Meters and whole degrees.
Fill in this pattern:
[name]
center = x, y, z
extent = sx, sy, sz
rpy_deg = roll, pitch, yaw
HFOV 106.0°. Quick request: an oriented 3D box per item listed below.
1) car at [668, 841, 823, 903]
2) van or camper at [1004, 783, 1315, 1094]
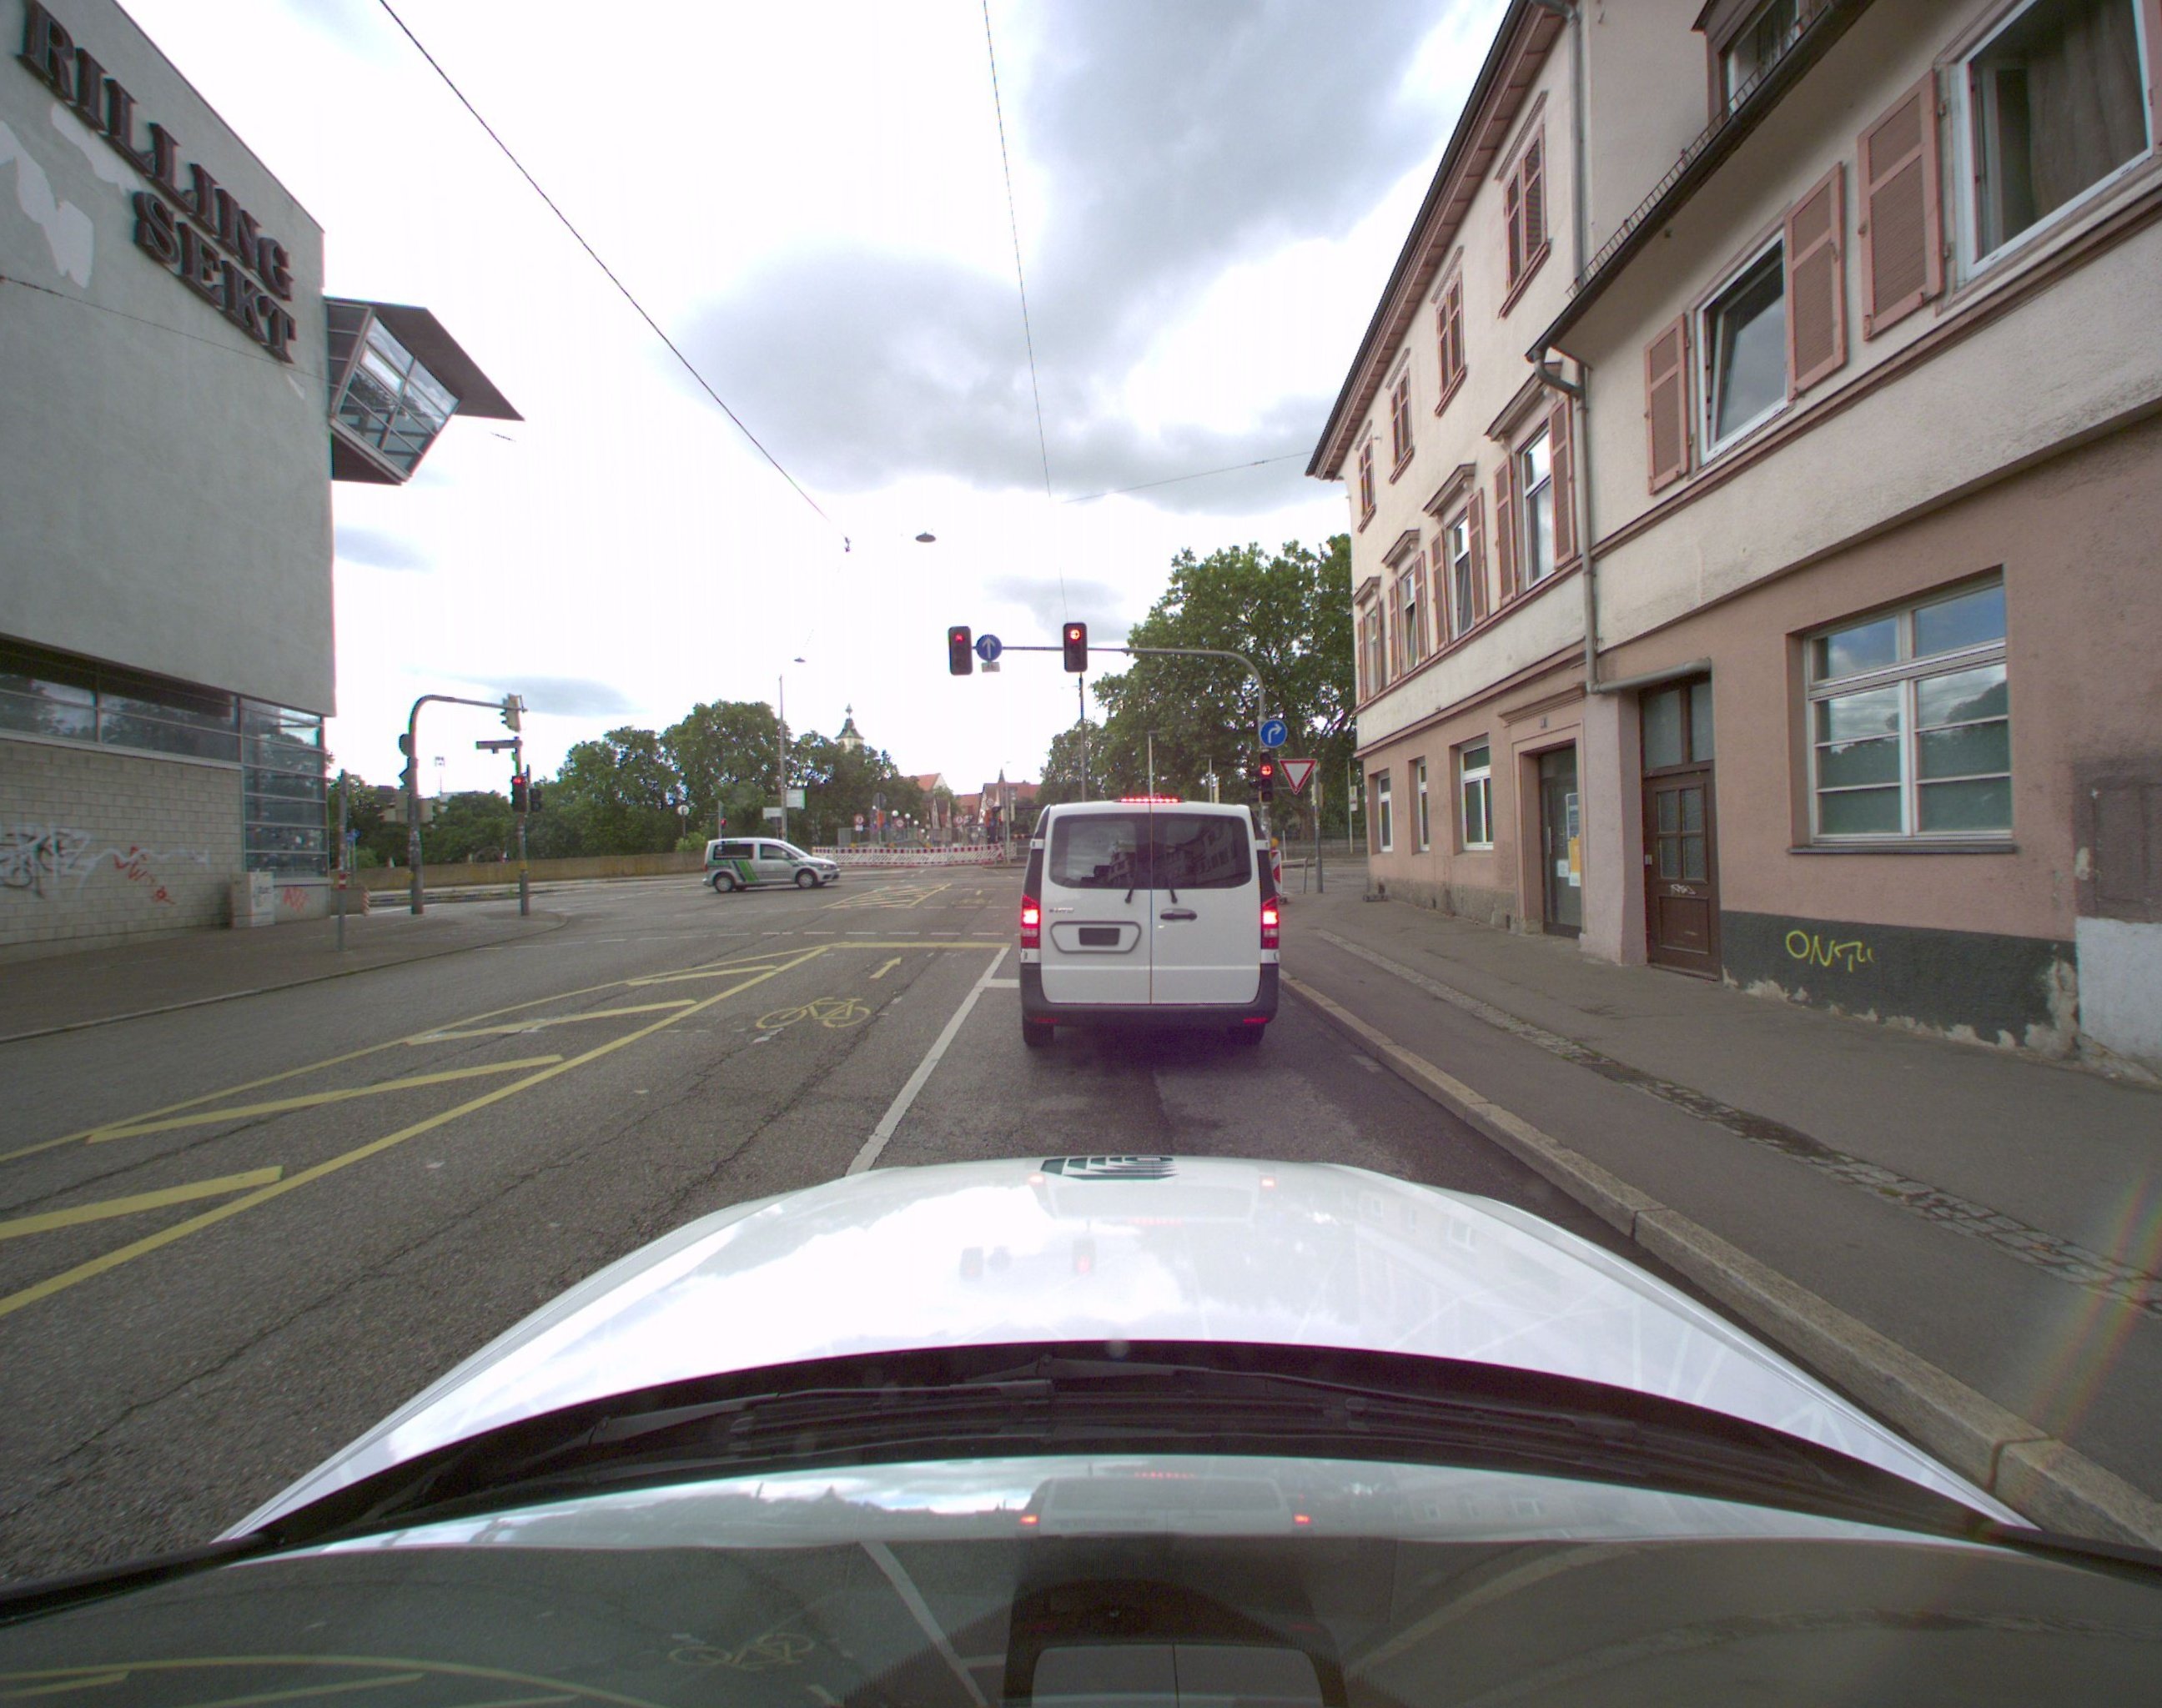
[car]
center = -11.117, 0.559, 27.282
extent = 4.342, 1.802, 1.996
rpy_deg = -3, 1, -7
[van or camper]
center = 0.524, 0.495, 7.344
extent = 1.931, 1.924, 4.441
rpy_deg = -1, 1, 1
